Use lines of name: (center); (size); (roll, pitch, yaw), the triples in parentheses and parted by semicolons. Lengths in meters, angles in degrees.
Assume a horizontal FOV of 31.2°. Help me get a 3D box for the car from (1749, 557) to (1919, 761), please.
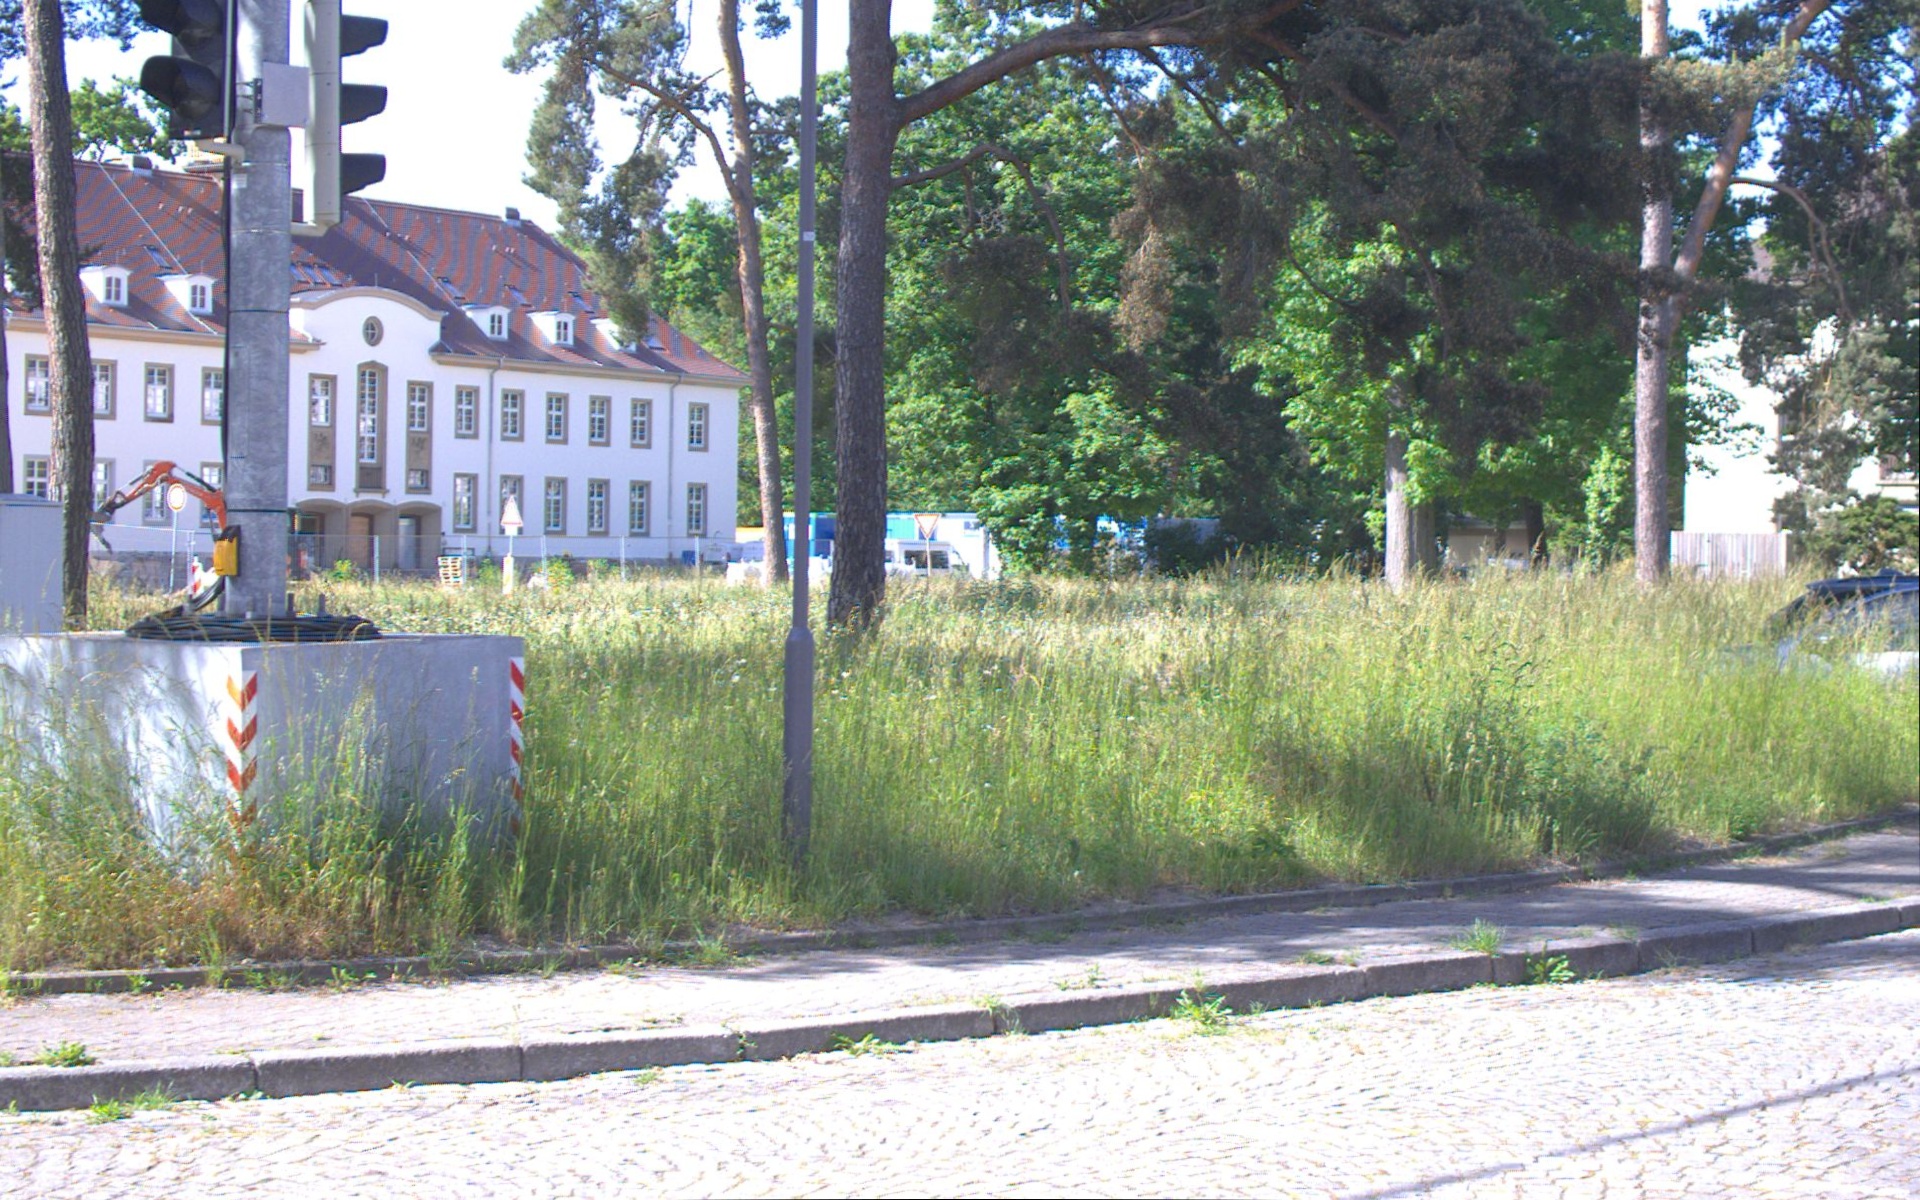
car: (8.450, 0.510, 25.593); (4.589, 1.447, 1.981); (3, 1, 30)

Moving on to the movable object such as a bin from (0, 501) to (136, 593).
movable object such as a bin: (-24.412, -1.391, 89.390); (5.659, 2.323, 2.529); (1, 0, -10)

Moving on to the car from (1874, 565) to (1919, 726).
car: (10.749, 0.508, 30.135); (4.874, 1.416, 1.934); (3, 2, 34)

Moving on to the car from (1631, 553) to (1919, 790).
car: (6.880, 0.502, 23.497); (4.034, 1.478, 1.945); (3, 2, 32)

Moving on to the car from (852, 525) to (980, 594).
car: (-1.575, -1.462, 125.783); (1.988, 2.428, 5.266); (1, 1, 34)

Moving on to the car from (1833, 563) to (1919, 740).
car: (9.825, 0.527, 27.939); (4.874, 1.416, 1.934); (3, 1, 34)

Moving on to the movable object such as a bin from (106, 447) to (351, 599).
movable object such as a bin: (-18.731, -1.937, 88.516); (3.919, 3.718, 6.789); (1, 1, 10)
